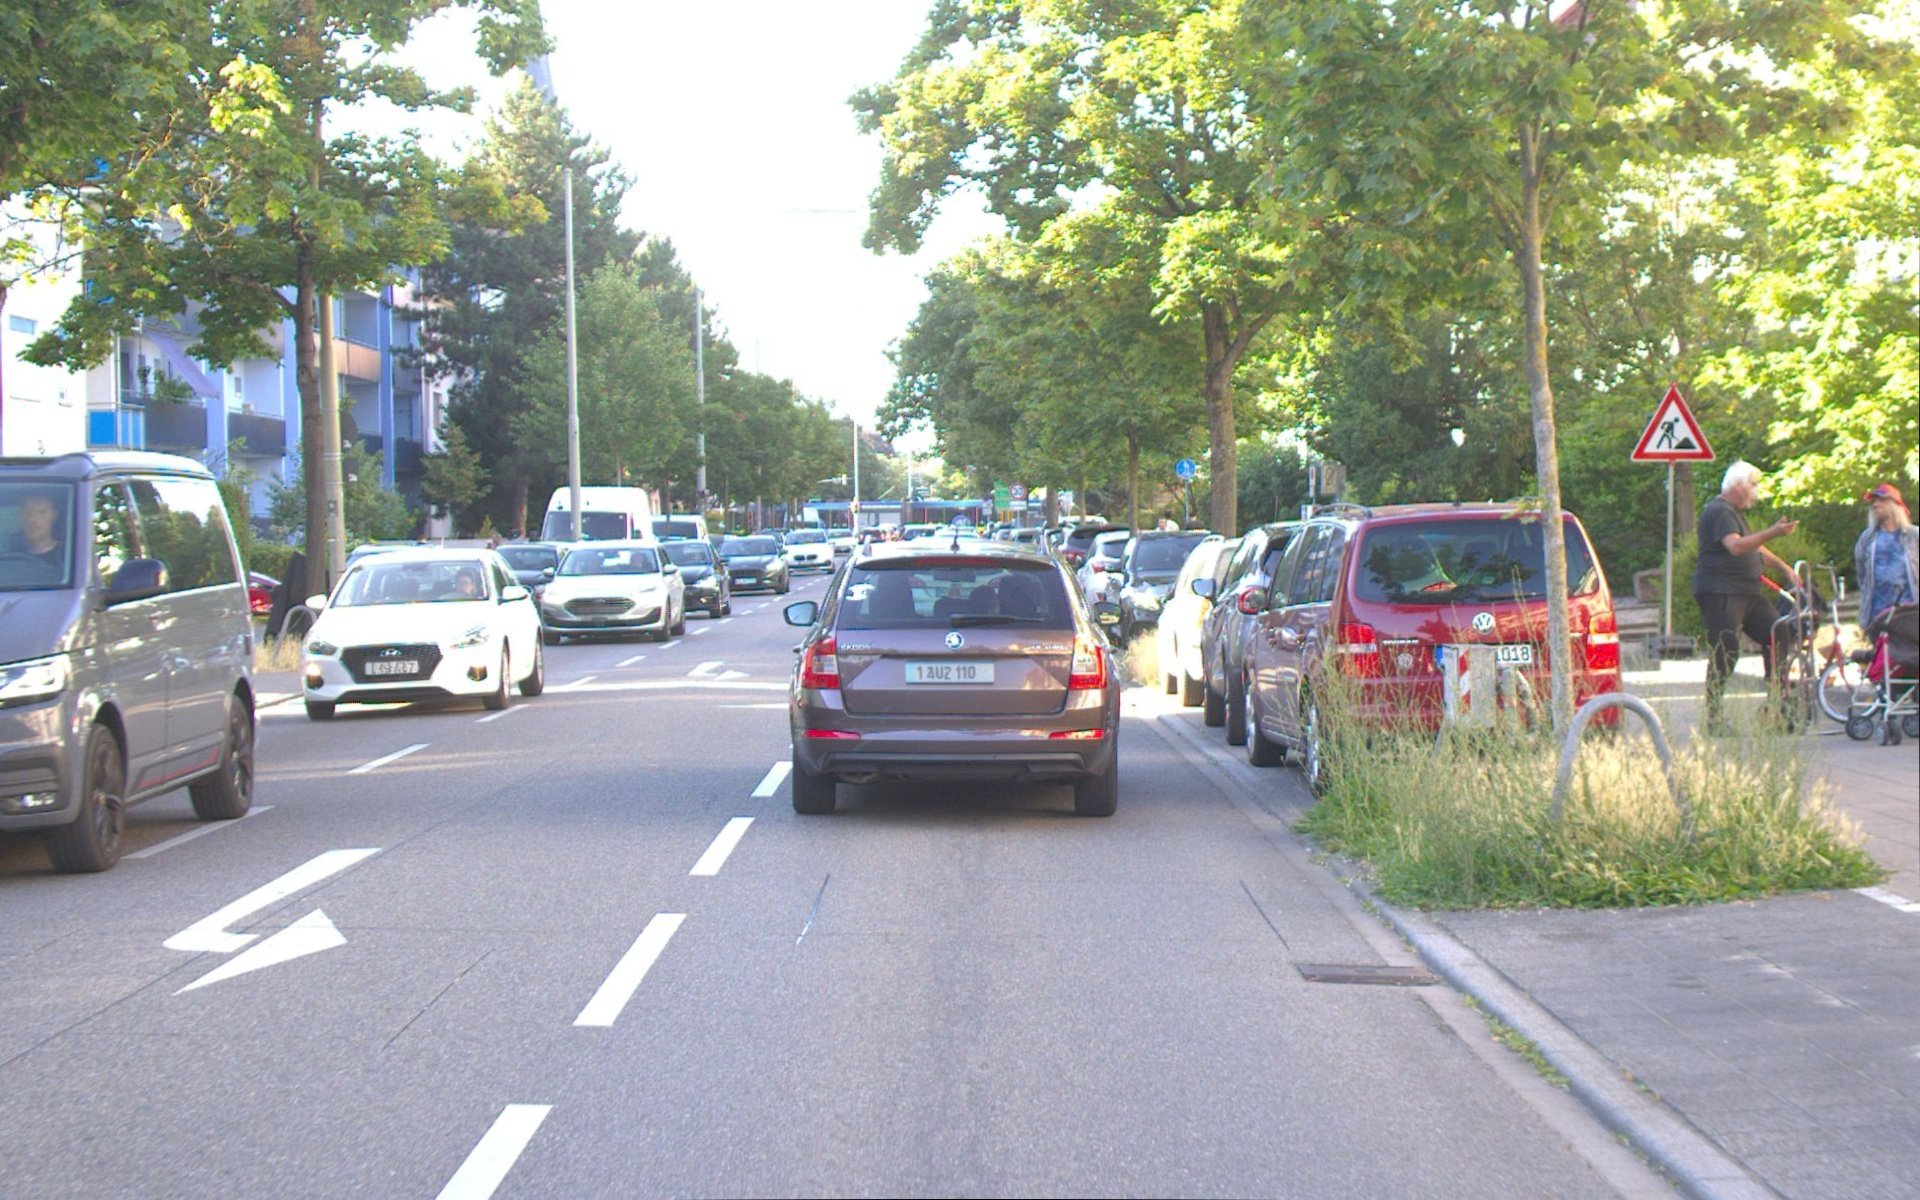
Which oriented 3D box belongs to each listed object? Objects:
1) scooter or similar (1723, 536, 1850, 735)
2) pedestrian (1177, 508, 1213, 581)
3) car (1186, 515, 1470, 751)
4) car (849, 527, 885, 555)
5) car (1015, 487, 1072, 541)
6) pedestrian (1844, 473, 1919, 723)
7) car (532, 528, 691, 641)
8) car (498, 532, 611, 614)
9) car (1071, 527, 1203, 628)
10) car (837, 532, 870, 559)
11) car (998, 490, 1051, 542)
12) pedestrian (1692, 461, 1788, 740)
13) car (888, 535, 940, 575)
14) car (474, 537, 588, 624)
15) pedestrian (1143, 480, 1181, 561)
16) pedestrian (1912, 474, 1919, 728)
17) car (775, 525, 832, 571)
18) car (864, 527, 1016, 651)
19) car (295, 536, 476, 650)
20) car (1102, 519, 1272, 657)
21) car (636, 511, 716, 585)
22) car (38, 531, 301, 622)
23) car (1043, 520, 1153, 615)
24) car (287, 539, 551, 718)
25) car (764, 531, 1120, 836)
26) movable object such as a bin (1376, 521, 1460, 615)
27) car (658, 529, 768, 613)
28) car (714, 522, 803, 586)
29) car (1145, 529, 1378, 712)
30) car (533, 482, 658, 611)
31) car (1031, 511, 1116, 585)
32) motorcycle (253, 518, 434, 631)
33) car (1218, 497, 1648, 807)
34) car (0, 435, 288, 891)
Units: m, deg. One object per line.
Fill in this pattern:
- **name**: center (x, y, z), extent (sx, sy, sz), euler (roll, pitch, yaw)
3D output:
- **scooter or similar**: center (5.554, 0.231, 23.127), extent (0.746, 1.313, 0.721), euler (0, 1, 7)
- **pedestrian**: center (6.080, -1.444, 88.957), extent (0.799, 1.854, 0.950), euler (-1, 1, 11)
- **car**: center (2.643, 0.181, 25.463), extent (1.636, 1.563, 4.000), euler (-2, 1, 0)
- **car**: center (-5.966, -3.759, 219.587), extent (1.993, 1.744, 4.001), euler (-1, 1, -5)
- **car**: center (2.681, -2.747, 110.047), extent (1.754, 1.680, 4.252), euler (1, 1, 1)
- **pedestrian**: center (6.393, -0.021, 23.536), extent (0.510, 1.691, 0.527), euler (0, 1, -5)
- **car**: center (-5.040, -0.265, 50.210), extent (1.832, 1.465, 4.452), euler (-3, 1, -1)
- **car**: center (-7.931, -0.550, 67.583), extent (1.706, 1.487, 4.059), euler (2, 1, 0)
- **car**: center (2.713, -0.386, 53.527), extent (1.718, 1.489, 4.394), euler (-1, 1, -1)
- **car**: center (-6.179, -3.182, 199.604), extent (1.781, 1.489, 3.971), euler (1, 1, 0)
- **car**: center (2.394, -3.072, 126.632), extent (1.916, 1.854, 5.633), euler (0, 1, 2)
- **pedestrian**: center (5.249, -0.003, 23.159), extent (0.548, 1.843, 0.764), euler (0, 1, 7)
- **car**: center (-1.777, -1.726, 131.272), extent (1.781, 1.475, 3.971), euler (1, 1, -3)
- **car**: center (-7.798, -0.380, 62.756), extent (1.612, 1.468, 3.813), euler (1, 1, -1)
- **pedestrian**: center (4.256, -1.664, 72.400), extent (0.788, 1.694, 0.807), euler (0, 1, 5)
- **pedestrian**: center (6.643, 0.010, 22.741), extent (0.510, 1.691, 0.527), euler (0, 1, -5)
- **car**: center (-5.349, -1.788, 117.401), extent (1.879, 1.537, 4.268), euler (-1, 1, -3)
- **car**: center (-0.278, -0.149, 46.275), extent (1.892, 1.501, 3.790), euler (3, 0, -1)
- **car**: center (-7.981, -0.134, 48.097), extent (1.778, 1.499, 4.589), euler (0, 1, 0)
- **car**: center (2.780, -0.197, 43.074), extent (1.874, 1.575, 4.820), euler (-2, 1, 1)
- **car**: center (-7.983, -1.497, 97.029), extent (1.868, 2.024, 5.301), euler (0, 1, -1)
- **car**: center (-13.359, -0.407, 58.270), extent (3.987, 1.408, 1.916), euler (2, 1, 0)
- **car**: center (2.412, -0.607, 60.830), extent (1.718, 1.595, 4.096), euler (-1, 1, -1)
- **car**: center (-4.930, 0.212, 31.833), extent (1.815, 1.441, 4.111), euler (-3, 1, -1)
- **car**: center (-0.040, 0.376, 19.147), extent (1.754, 1.487, 4.000), euler (1, 1, 1)
- **movable object such as a bin**: center (7.590, -0.535, 56.923), extent (1.267, 1.487, 1.139), euler (-3, 1, 10)
- **car**: center (-4.450, -0.549, 62.398), extent (1.700, 1.399, 4.028), euler (-2, 1, -1)
- **car**: center (-4.874, -1.145, 83.626), extent (1.700, 1.465, 4.294), euler (-2, 1, 2)
- **car**: center (2.656, 0.129, 31.115), extent (1.636, 1.485, 4.416), euler (-2, 1, -1)
- **car**: center (-7.775, -1.173, 73.874), extent (1.993, 2.607, 7.106), euler (1, 1, -1)
- **car**: center (2.857, -1.335, 87.251), extent (1.800, 1.802, 4.424), euler (1, 1, -2)
- **motorcycle**: center (-7.867, -0.315, 43.876), extent (2.021, 1.384, 0.991), euler (1, 0, -32)
- **car**: center (2.701, 0.227, 20.651), extent (1.721, 1.650, 4.598), euler (0, 1, -3)
- **car**: center (-4.834, 0.259, 17.108), extent (1.993, 1.939, 4.778), euler (-3, 1, 0)
